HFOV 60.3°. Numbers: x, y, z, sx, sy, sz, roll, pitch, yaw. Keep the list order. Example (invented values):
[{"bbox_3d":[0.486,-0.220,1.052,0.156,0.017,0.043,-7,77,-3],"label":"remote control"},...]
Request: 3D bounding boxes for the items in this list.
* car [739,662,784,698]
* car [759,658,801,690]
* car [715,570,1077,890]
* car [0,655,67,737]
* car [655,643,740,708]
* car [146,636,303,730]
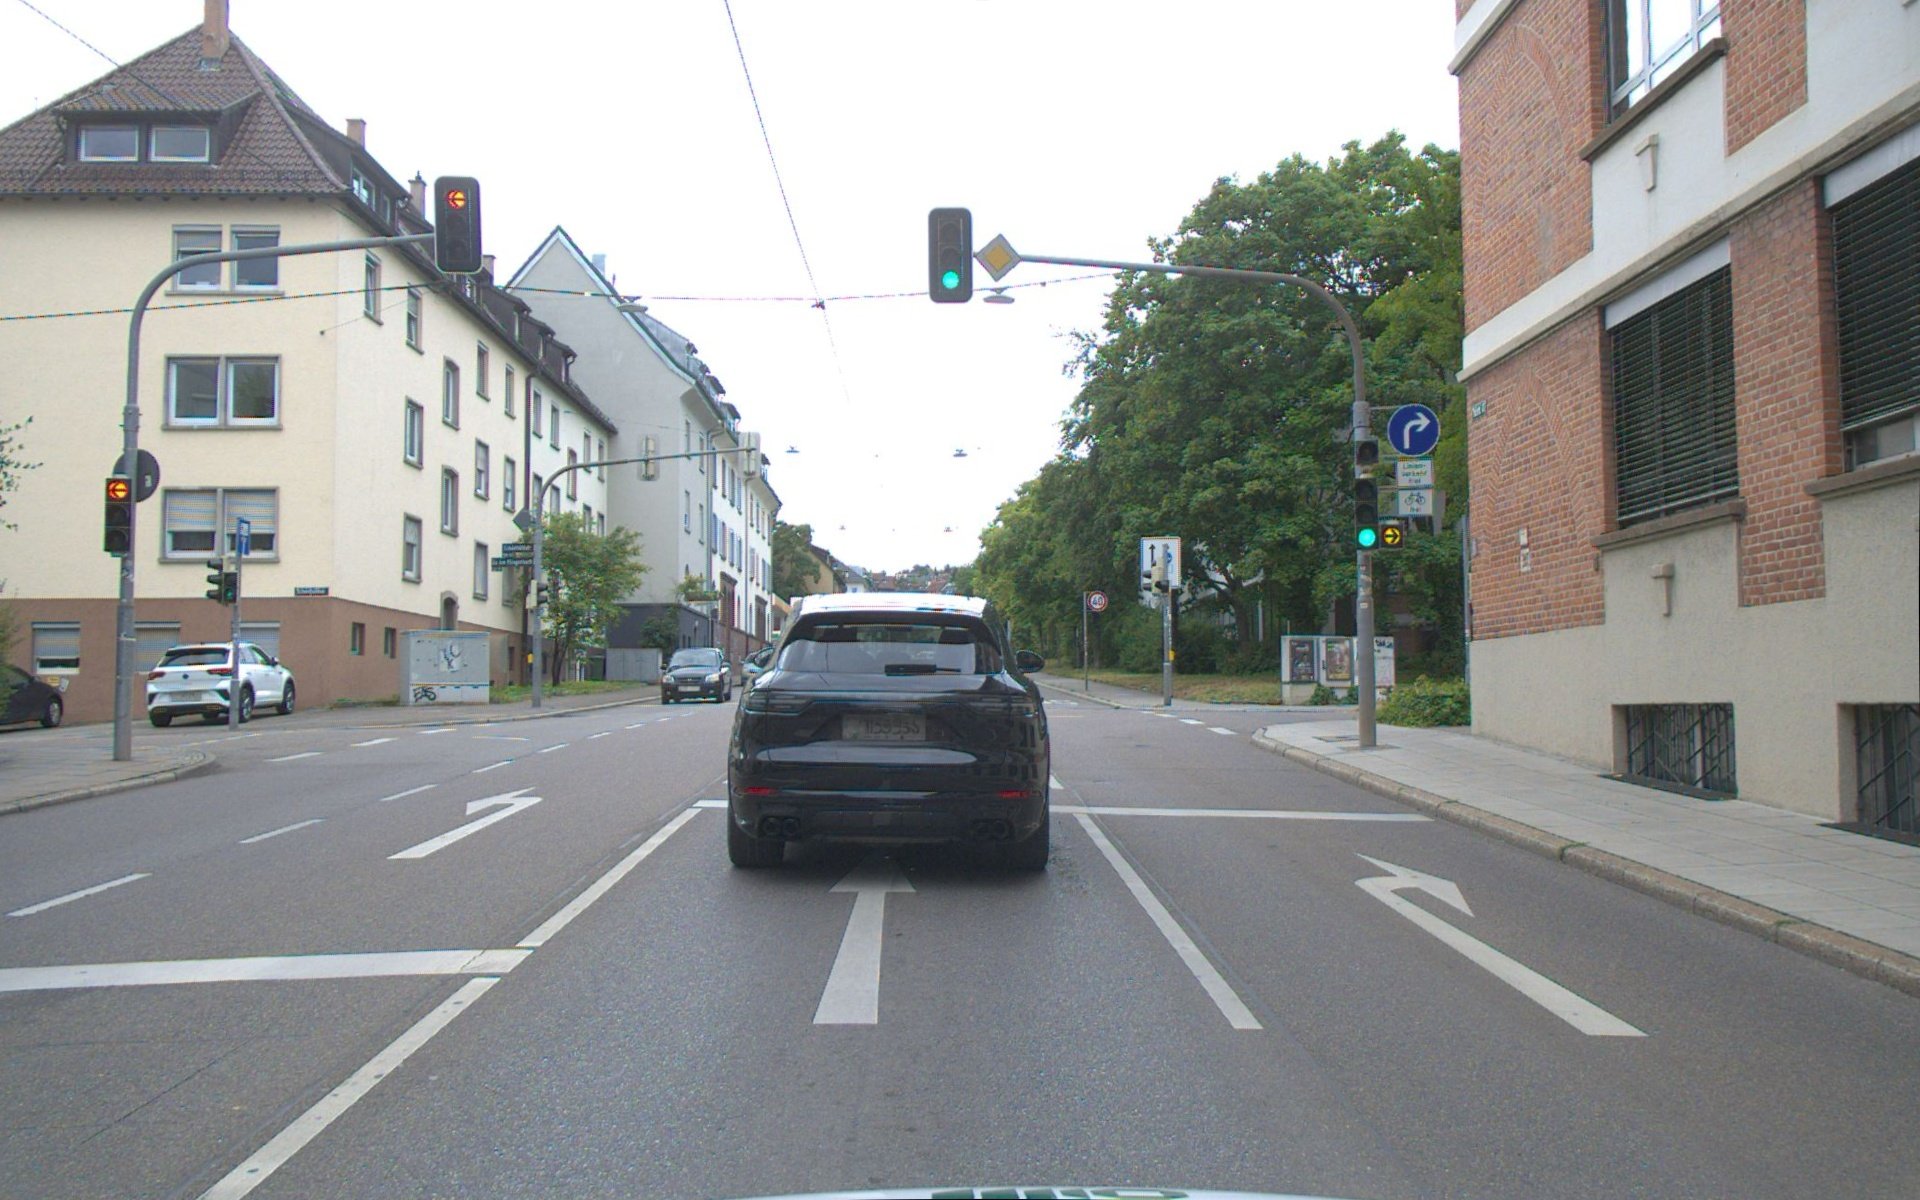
[{"bbox_3d":[-8.264,3.340,69.133,1.637,1.386,3.997,0,-1,-4],"label":"car"},{"bbox_3d":[-8.320,3.410,76.618,1.636,1.386,3.998,0,-1,-3],"label":"car"},{"bbox_3d":[-0.376,0.751,11.090,1.953,1.727,3.999,1,-1,-1],"label":"car"},{"bbox_3d":[-19.685,1.962,32.862,1.636,1.573,4.100,-3,-1,-1],"label":"car"},{"bbox_3d":[-7.076,2.009,44.807,1.630,1.545,3.739,-3,-1,0],"label":"car"},{"bbox_3d":[-14.736,1.614,33.367,1.637,1.691,3.995,-3,-1,-5],"label":"car"}]
